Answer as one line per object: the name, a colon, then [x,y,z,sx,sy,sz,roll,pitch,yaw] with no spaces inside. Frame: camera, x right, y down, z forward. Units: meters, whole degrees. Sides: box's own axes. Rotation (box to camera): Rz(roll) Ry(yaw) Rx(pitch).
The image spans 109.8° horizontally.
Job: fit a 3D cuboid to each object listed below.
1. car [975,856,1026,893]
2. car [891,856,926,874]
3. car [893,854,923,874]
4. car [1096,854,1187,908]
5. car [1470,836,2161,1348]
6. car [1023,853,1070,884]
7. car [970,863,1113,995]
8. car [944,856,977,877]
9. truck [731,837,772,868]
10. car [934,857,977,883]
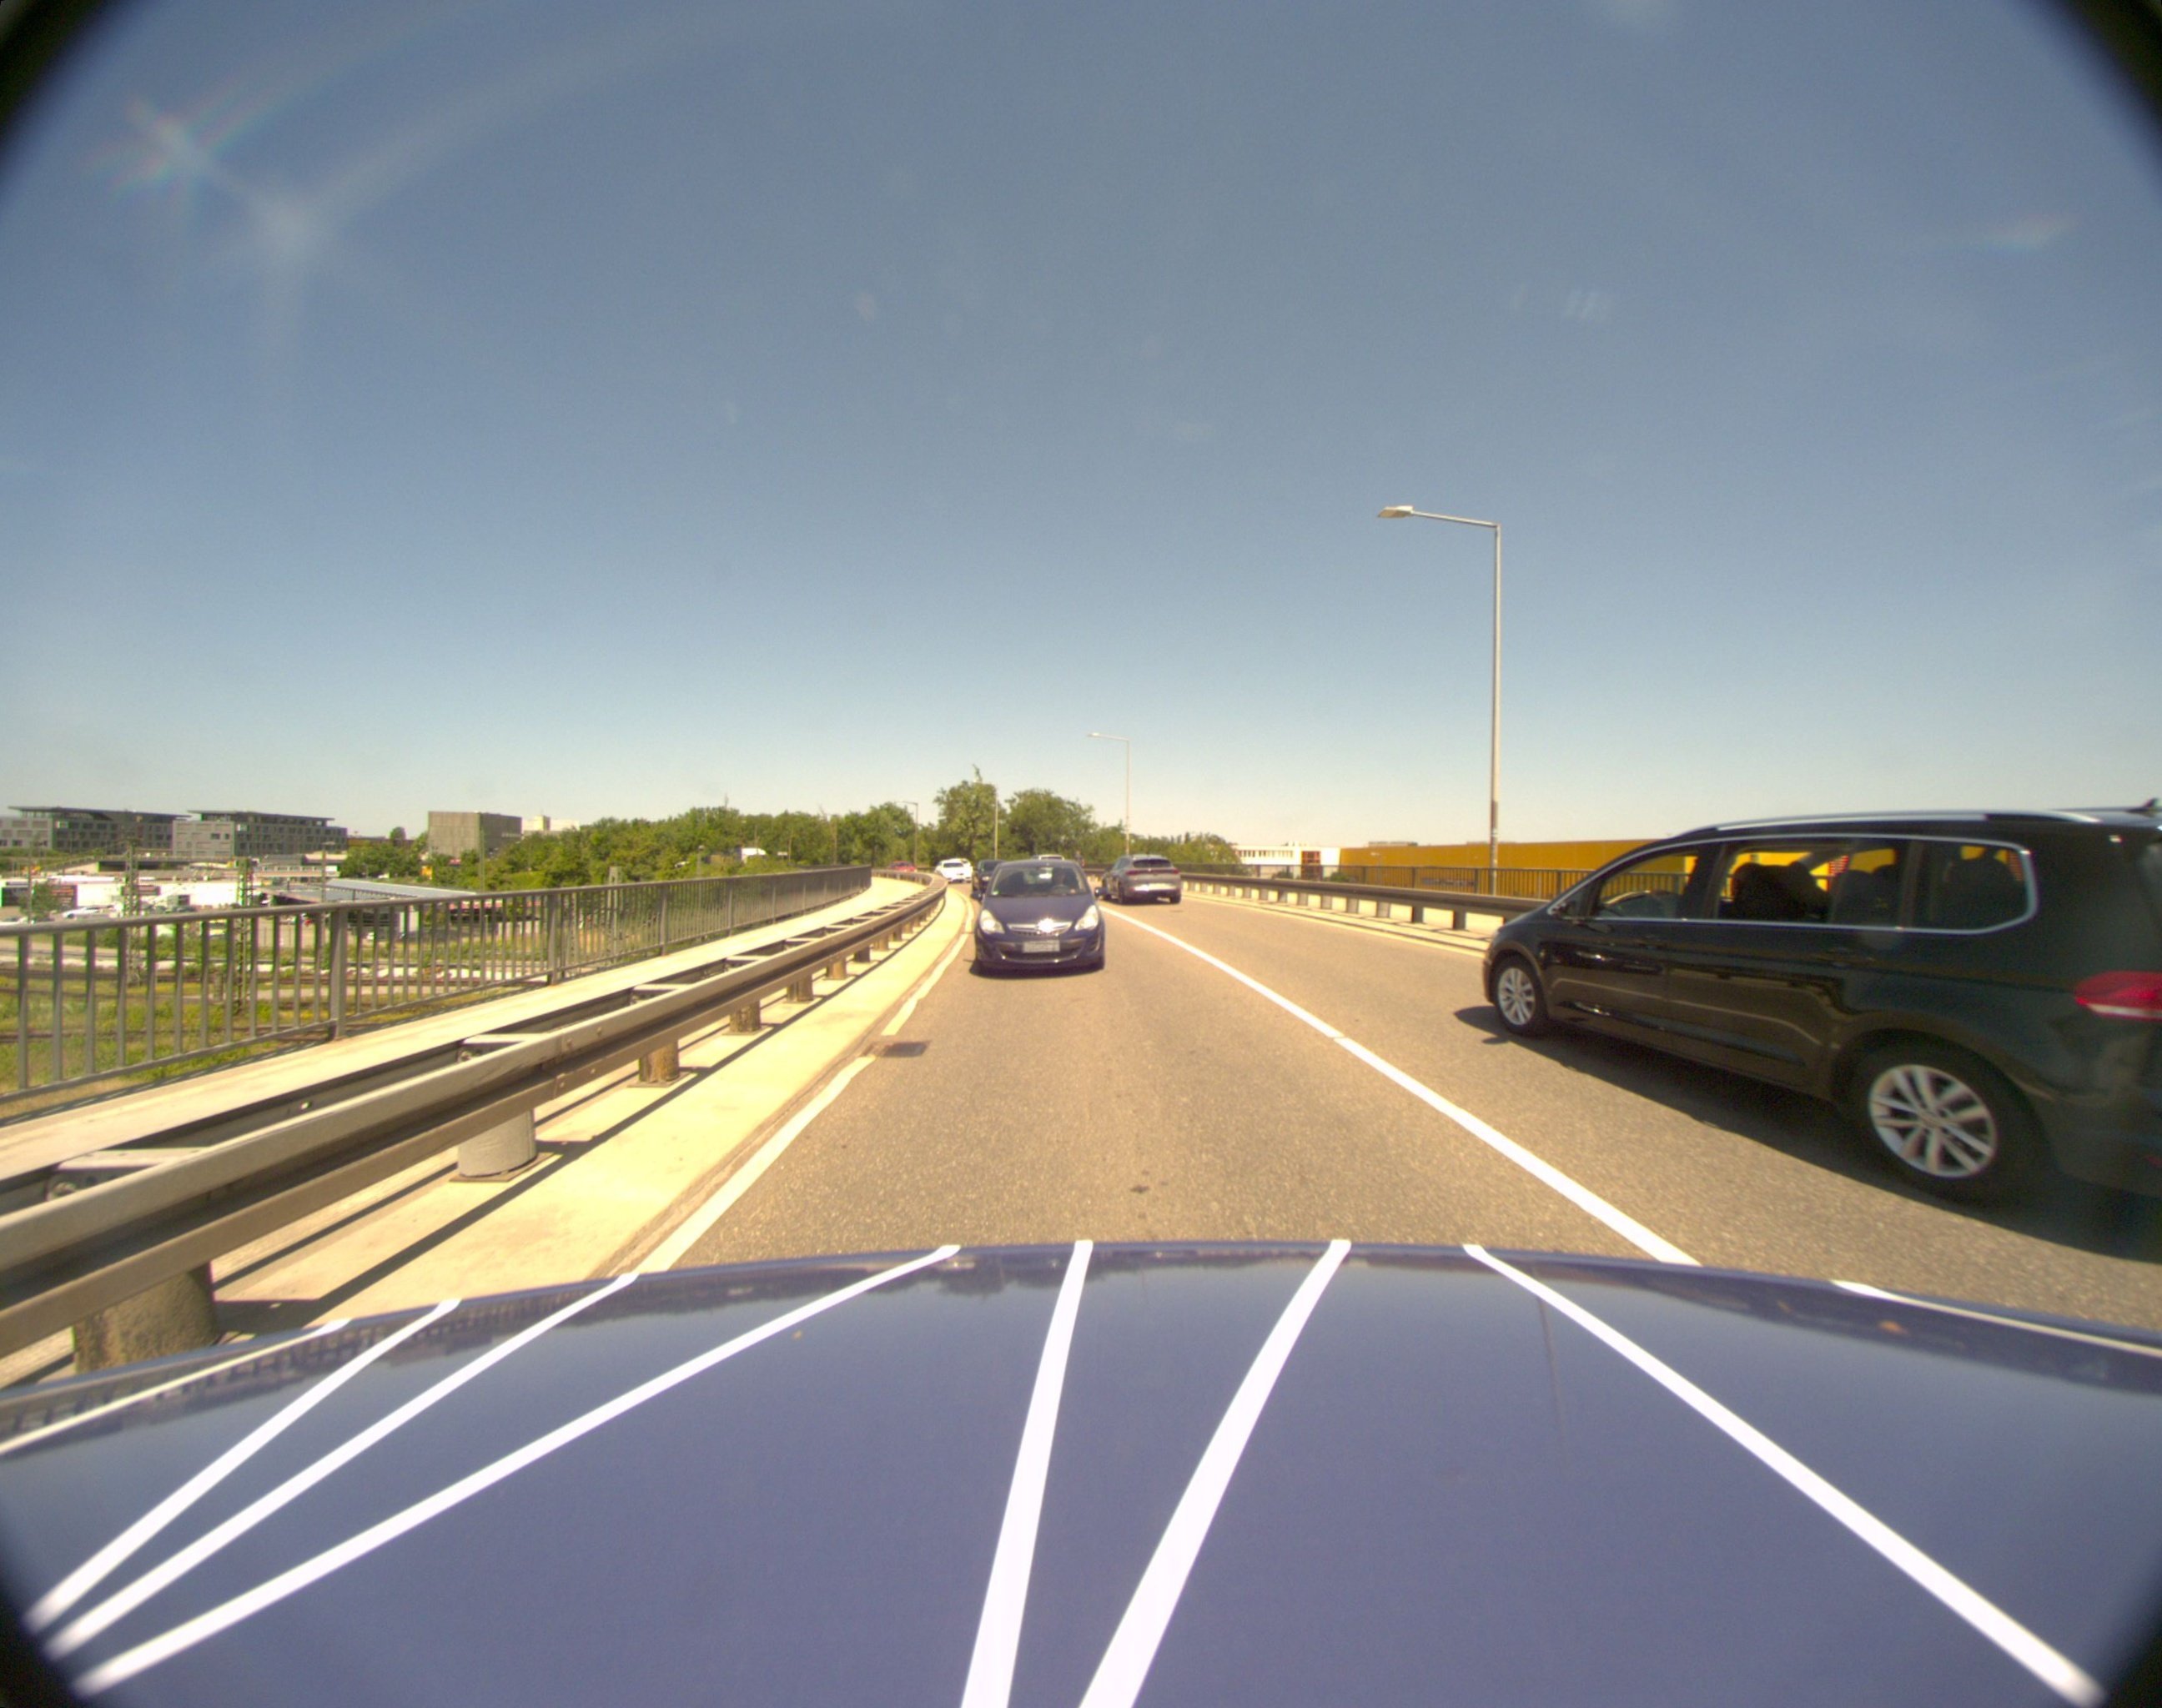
car: [-3.622,0.868,33.559,1.796,1.446,4.518,-2,0,-11]
car: [-14.713,0.913,64.542,1.798,1.447,4.512,-2,1,-28]
car: [-18.134,1.040,79.474,2.003,2.002,3.992,-3,0,-27]
car: [1.790,0.762,23.848,1.781,1.499,4.189,-1,0,-11]
car: [4.245,0.739,4.292,1.777,1.616,4.252,-1,0,-2]
car: [-1.978,0.781,42.327,1.700,1.598,3.994,-1,0,-17]
car: [-0.688,0.907,11.000,1.645,1.431,3.997,-2,0,-7]
car: [-9.893,0.990,62.156,1.701,1.598,3.992,-1,0,-24]
truck: [-47.432,-0.180,109.245,6.820,4.204,2.701,-2,2,44]
car: [-7.925,0.960,47.594,1.797,1.446,4.515,-2,0,-20]
